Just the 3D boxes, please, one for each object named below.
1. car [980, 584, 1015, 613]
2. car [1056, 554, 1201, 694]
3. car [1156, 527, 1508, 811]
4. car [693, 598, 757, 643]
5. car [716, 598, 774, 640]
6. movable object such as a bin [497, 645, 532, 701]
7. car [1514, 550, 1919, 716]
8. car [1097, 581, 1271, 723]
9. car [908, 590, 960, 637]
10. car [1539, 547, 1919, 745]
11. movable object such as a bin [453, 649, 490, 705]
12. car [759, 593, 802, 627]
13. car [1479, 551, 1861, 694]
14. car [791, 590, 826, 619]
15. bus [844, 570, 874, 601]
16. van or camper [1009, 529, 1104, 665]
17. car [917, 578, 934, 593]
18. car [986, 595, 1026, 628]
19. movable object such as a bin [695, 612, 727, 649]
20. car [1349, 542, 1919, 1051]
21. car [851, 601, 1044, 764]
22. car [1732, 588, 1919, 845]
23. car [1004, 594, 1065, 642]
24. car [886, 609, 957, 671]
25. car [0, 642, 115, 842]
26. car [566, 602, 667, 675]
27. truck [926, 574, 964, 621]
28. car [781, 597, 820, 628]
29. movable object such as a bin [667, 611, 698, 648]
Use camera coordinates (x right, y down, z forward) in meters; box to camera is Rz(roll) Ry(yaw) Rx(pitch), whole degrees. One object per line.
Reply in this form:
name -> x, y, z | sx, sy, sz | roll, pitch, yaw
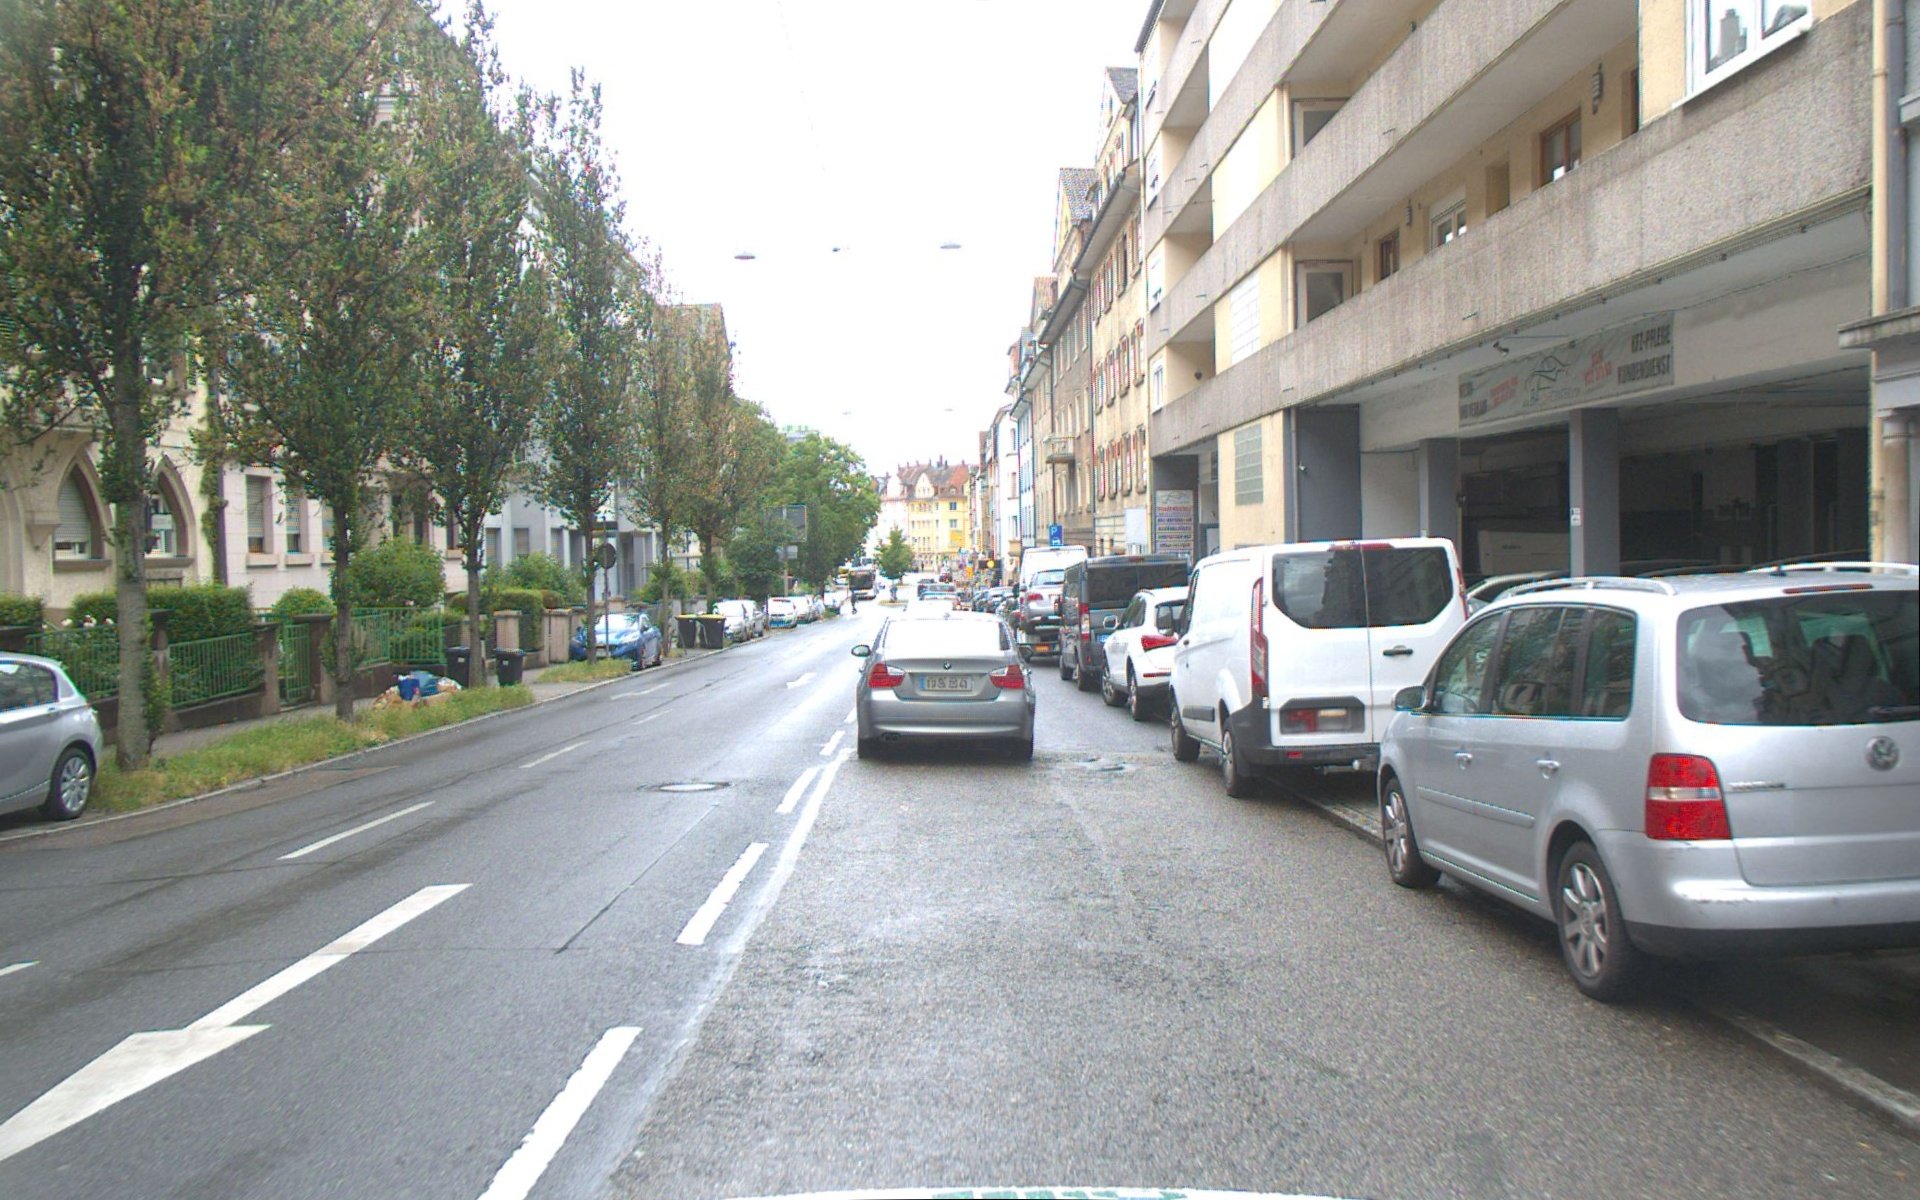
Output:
car -> 1.952, -0.074, 87.717 | 1.663, 1.509, 3.974 | 0, 0, -2
car -> 2.882, 0.384, 29.319 | 1.942, 2.203, 4.749 | -2, 0, -1
car -> 3.058, 0.513, 14.664 | 1.942, 2.042, 4.624 | -2, 0, -1
car -> -8.850, 0.740, 62.496 | 1.790, 1.550, 3.736 | -3, 0, 0
car -> -8.758, 0.743, 67.692 | 1.790, 1.550, 3.736 | -3, 0, 0
movable object such as a bin -> -7.767, 1.271, 28.854 | 0.565, 0.928, 0.637 | -2, 0, -15
car -> 8.421, 0.340, 18.225 | 4.195, 1.669, 1.668 | -1, 2, 12
car -> 2.956, 0.642, 22.657 | 1.691, 1.699, 4.287 | -2, 0, -1
car -> -0.886, 0.462, 55.296 | 1.663, 1.509, 3.792 | 0, 0, -2
car -> 7.997, 0.408, 16.070 | 4.233, 1.756, 1.911 | -1, 2, 12
movable object such as a bin -> -8.552, 1.348, 28.953 | 0.565, 0.928, 0.637 | -2, 0, -15
car -> -8.983, 0.488, 83.089 | 1.656, 1.550, 3.736 | -3, 0, 0
car -> 8.894, 0.266, 21.040 | 4.195, 1.669, 1.668 | -1, 2, 12
car -> -8.813, 0.246, 96.522 | 1.656, 1.550, 3.736 | -3, 0, 0
bus -> -10.342, -1.454, 170.181 | 2.614, 3.077, 7.669 | -2, 0, -1
van or camper -> 2.286, -0.079, 39.849 | 1.991, 2.919, 6.887 | 2, 0, 3
car -> -3.674, -1.501, 175.767 | 1.663, 1.509, 3.792 | -2, 0, -2
car -> 2.132, 0.555, 78.031 | 1.663, 1.509, 3.974 | 0, 0, -2
movable object such as a bin -> -8.291, 1.011, 55.054 | 0.916, 1.189, 0.909 | -1, 0, -1
car -> 3.266, 0.649, 7.845 | 1.691, 1.699, 4.287 | -3, 0, -1
car -> -0.106, 0.744, 16.854 | 1.733, 1.453, 3.741 | 0, 0, 0
car -> 8.509, 0.842, 12.894 | 4.234, 1.836, 2.008 | -1, 2, 17
car -> 2.387, 0.575, 53.816 | 1.663, 1.509, 3.974 | 0, 0, -2
car -> -0.917, 0.965, 41.147 | 1.647, 1.453, 3.741 | 0, 0, 0
car -> -8.290, 1.107, 12.534 | 1.691, 1.510, 3.988 | 1, -1, 0
car -> -8.491, 0.916, 41.163 | 1.731, 1.621, 3.998 | -3, 0, -2
truck -> -0.846, -0.104, 89.546 | 1.991, 2.455, 4.825 | 0, 0, -2
car -> -8.674, 0.680, 90.294 | 1.656, 1.550, 3.736 | -3, 0, 0
movable object such as a bin -> -9.231, 0.981, 55.035 | 0.883, 1.189, 0.895 | -1, 0, -1
